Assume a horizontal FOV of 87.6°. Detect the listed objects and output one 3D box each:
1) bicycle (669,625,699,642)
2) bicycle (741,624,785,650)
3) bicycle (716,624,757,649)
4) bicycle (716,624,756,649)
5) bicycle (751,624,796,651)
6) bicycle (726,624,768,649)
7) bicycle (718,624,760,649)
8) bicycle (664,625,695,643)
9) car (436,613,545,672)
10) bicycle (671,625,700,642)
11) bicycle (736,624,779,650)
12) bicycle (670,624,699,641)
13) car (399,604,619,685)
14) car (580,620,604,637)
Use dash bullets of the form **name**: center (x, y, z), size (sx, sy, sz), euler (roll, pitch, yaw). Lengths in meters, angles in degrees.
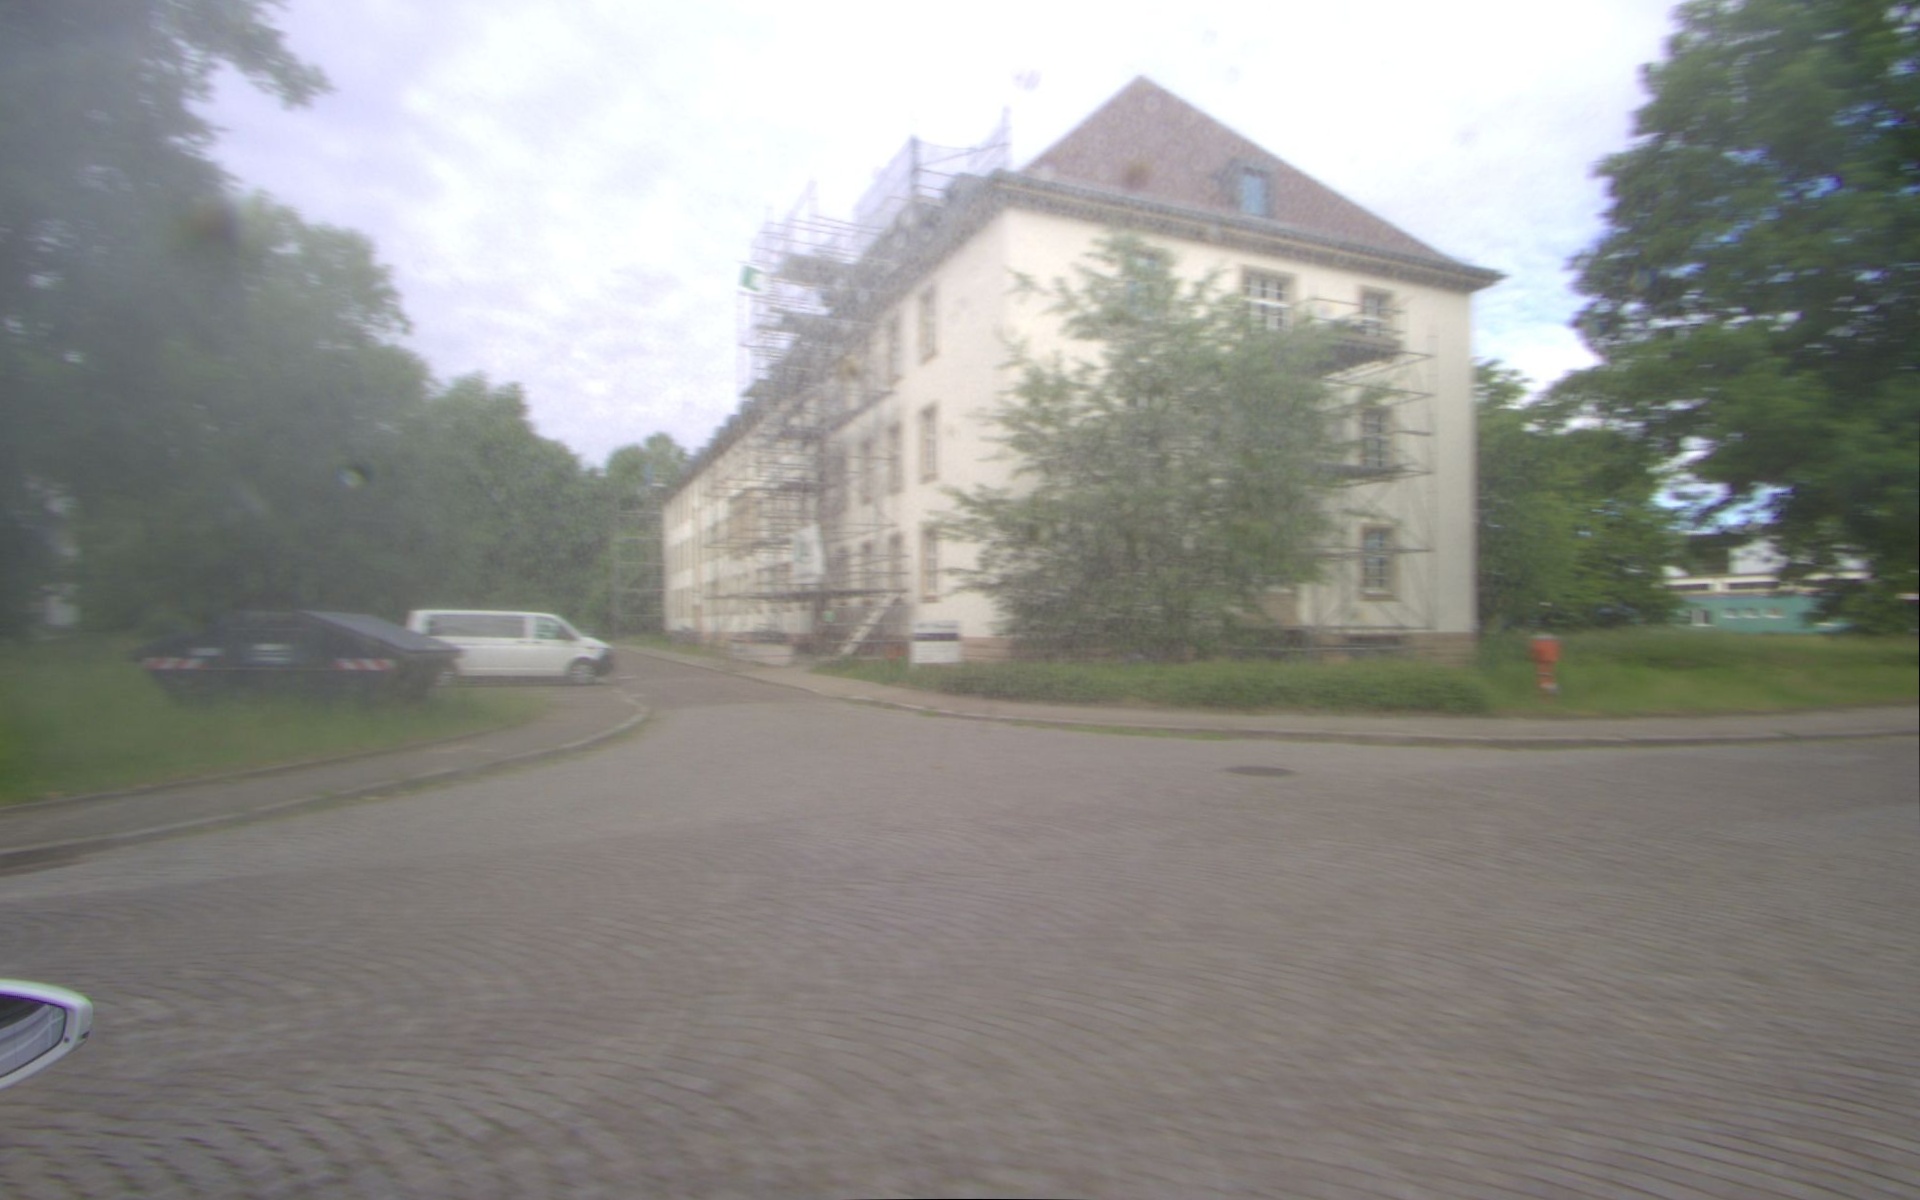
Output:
- **bicycle**: center (-17.702, 2.146, 64.240), size (1.826, 1.109, 0.511), euler (0, 0, -2)
- **bicycle**: center (-8.416, 1.581, 42.780), size (1.829, 1.109, 0.510), euler (0, 0, -17)
- **bicycle**: center (-10.458, 1.702, 46.816), size (1.829, 1.109, 0.510), euler (0, 0, -17)
- **bicycle**: center (-10.581, 1.716, 47.251), size (1.829, 1.109, 0.510), euler (0, 0, -17)
- **bicycle**: center (-7.911, 1.570, 42.409), size (1.829, 1.109, 0.510), euler (0, 0, -17)
- **bicycle**: center (-9.596, 1.650, 45.079), size (1.829, 1.109, 0.510), euler (0, 0, -17)
- **bicycle**: center (-10.227, 1.689, 46.355), size (1.829, 1.109, 0.510), euler (0, 0, -17)
- **bicycle**: center (-17.456, 2.100, 62.313), size (1.826, 1.109, 0.511), euler (0, 0, -2)
- **car**: center (-15.596, 1.395, 33.385), size (3.197, 1.868, 1.598), euler (0, -1, -24)
- **bicycle**: center (-18.200, 2.212, 66.382), size (1.829, 1.109, 0.510), euler (0, 0, -17)
- **bicycle**: center (-8.967, 1.626, 44.274), size (1.829, 1.109, 0.510), euler (0, 0, -17)
- **bicycle**: center (-18.065, 2.143, 65.579), size (1.829, 1.109, 0.510), euler (0, 0, -17)
- **car**: center (-11.990, 1.139, 26.905), size (5.192, 2.022, 1.962), euler (0, -1, -24)
- **car**: center (-31.816, 2.470, 86.633), size (1.559, 1.389, 3.938), euler (0, -1, -26)
